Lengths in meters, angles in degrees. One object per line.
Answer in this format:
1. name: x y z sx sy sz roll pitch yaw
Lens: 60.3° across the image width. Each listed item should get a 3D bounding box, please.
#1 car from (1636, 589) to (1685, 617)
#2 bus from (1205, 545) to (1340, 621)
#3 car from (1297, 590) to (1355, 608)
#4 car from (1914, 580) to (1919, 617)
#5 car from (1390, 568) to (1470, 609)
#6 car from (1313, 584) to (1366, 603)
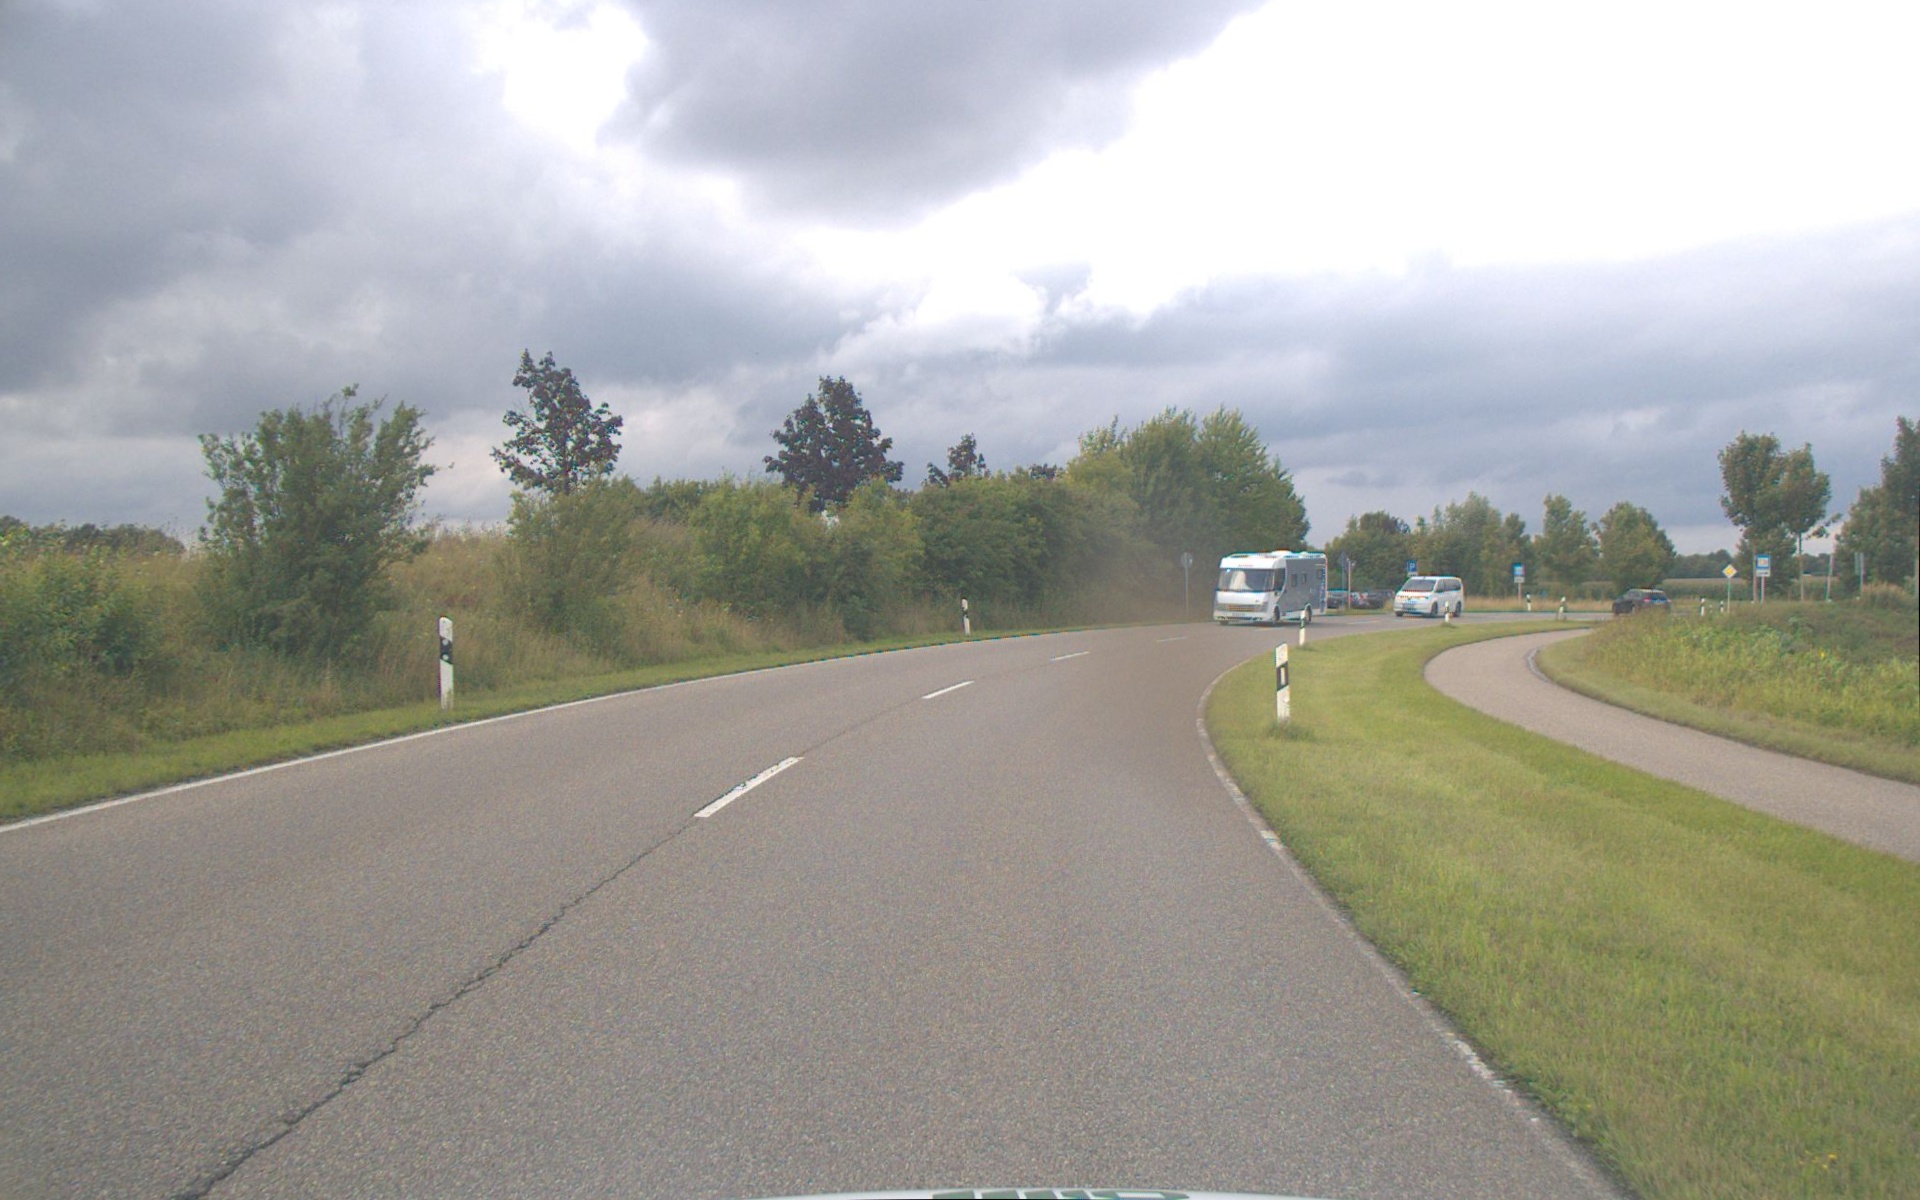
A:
1. car: 36.809 0.157 86.967 1.802 1.442 4.003 0 0 14
2. bus: 12.263 -0.633 64.195 2.429 2.758 8.412 0 0 31
3. car: 27.670 -0.086 124.956 3.915 1.404 1.819 0 0 32
4. car: 54.099 -0.087 88.646 4.876 2.008 1.942 0 0 43
5. car: 22.705 -0.568 79.788 2.078 1.901 5.167 0 0 36
6. car: 29.593 -0.510 129.060 3.904 1.404 1.476 0 0 20
